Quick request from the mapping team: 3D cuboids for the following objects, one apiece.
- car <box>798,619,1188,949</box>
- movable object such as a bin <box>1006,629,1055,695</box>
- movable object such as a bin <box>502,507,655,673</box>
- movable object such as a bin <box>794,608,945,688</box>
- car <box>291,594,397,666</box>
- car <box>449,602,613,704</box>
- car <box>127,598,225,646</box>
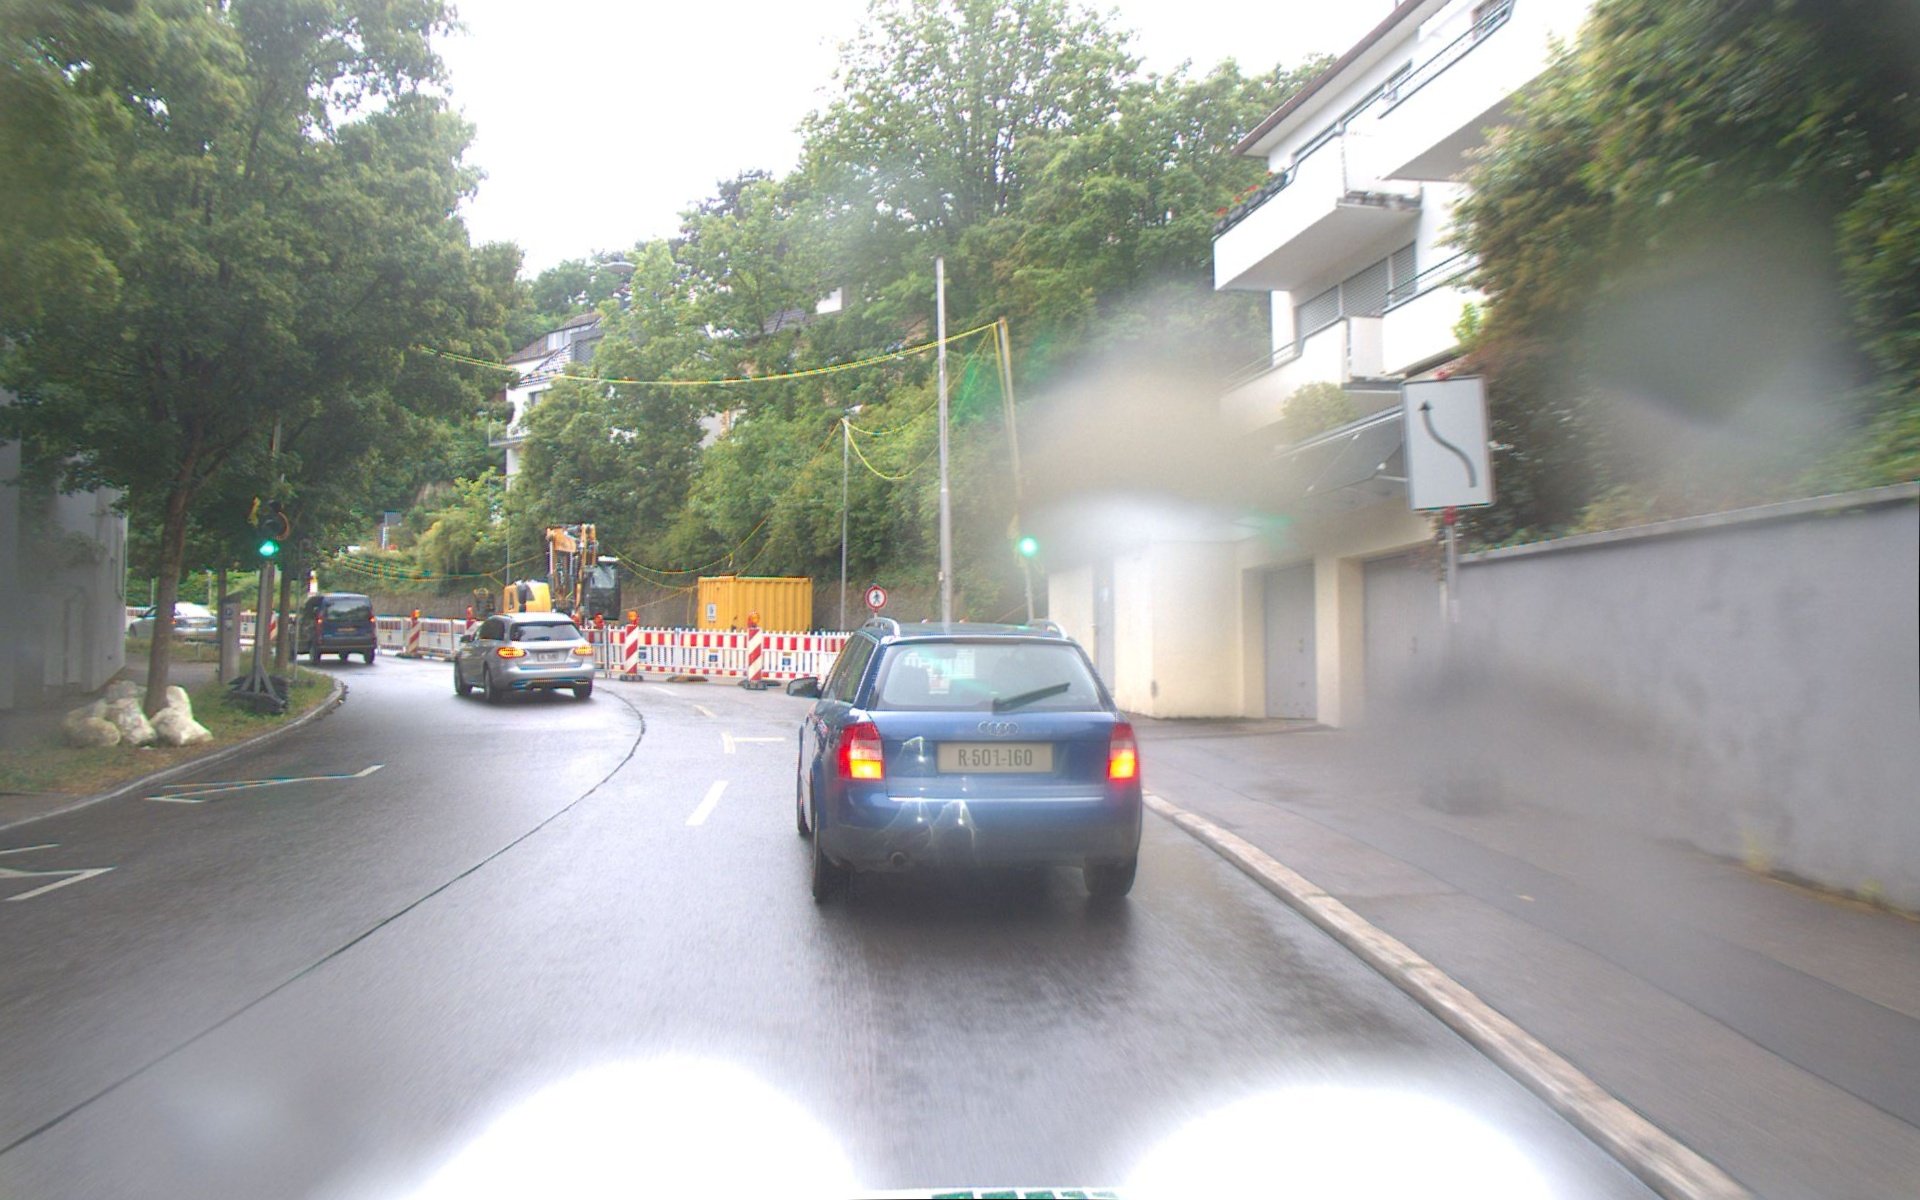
[{"bbox_3d":[-0.025,0.870,9.670,1.752,1.467,3.958,-1,0,-7],"label":"car"},{"bbox_3d":[1.156,1.019,27.269,0.705,1.050,0.591,-1,0,-6],"label":"movable object such as a bin"},{"bbox_3d":[-10.424,-0.269,44.645,2.782,4.084,7.274,0,0,-23],"label":"movable object such as a bin"},{"bbox_3d":[-1.978,0.960,34.889,1.966,1.546,3.972,0,0,-23],"label":"movable object such as a bin"},{"bbox_3d":[-16.817,0.817,45.046,1.974,1.825,3.957,-2,0,-31],"label":"car"},{"bbox_3d":[-7.652,0.864,29.253,1.904,1.646,4.281,0,0,-28],"label":"car"},{"bbox_3d":[-26.771,0.753,56.424,4.007,1.512,1.714,-2,0,44],"label":"car"}]
